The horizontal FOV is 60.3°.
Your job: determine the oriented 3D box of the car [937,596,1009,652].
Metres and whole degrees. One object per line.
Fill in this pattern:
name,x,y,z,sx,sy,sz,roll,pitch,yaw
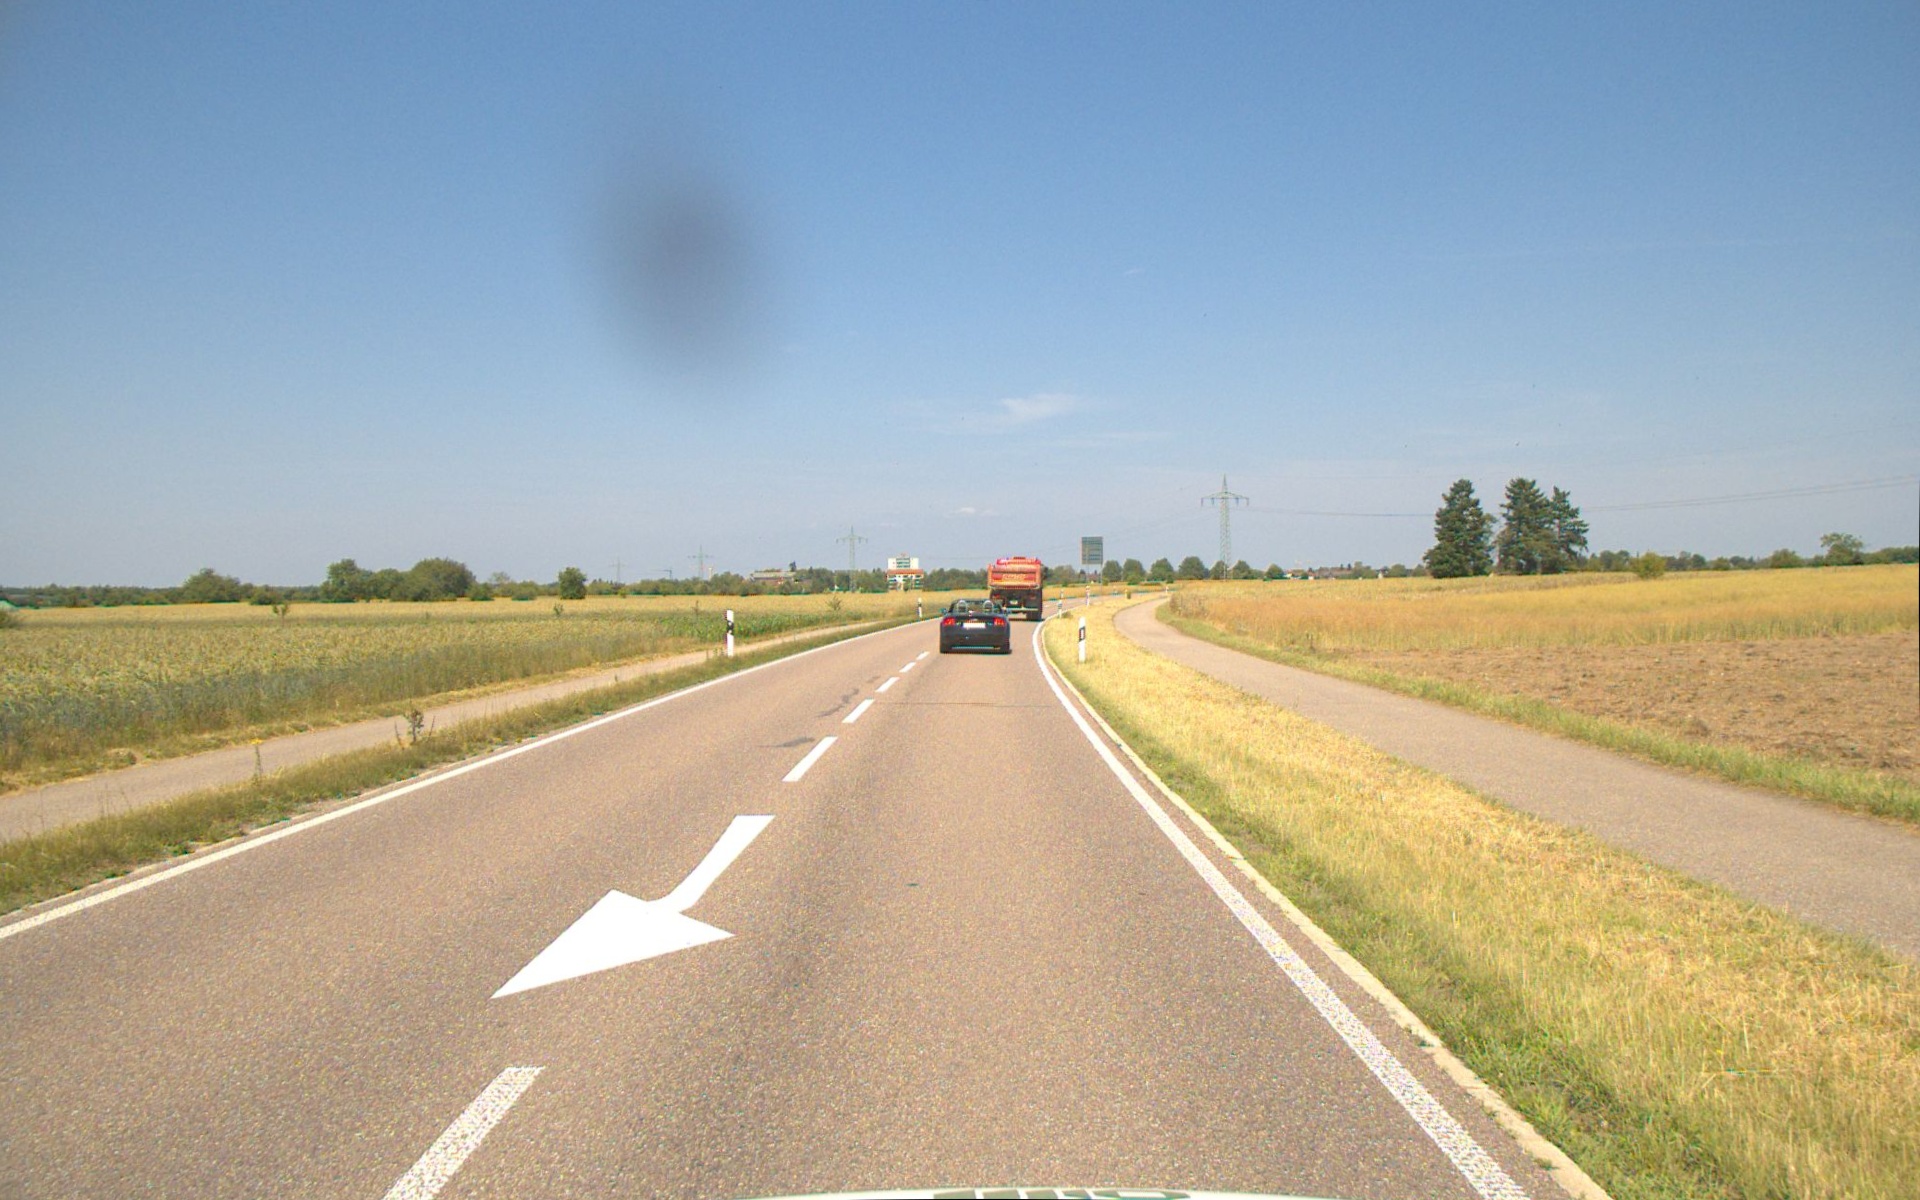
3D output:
car,0.345,0.576,41.236,1.708,1.302,4.000,0,0,1

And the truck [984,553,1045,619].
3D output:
truck,2.754,-0.644,82.056,2.876,3.143,7.199,0,0,3
